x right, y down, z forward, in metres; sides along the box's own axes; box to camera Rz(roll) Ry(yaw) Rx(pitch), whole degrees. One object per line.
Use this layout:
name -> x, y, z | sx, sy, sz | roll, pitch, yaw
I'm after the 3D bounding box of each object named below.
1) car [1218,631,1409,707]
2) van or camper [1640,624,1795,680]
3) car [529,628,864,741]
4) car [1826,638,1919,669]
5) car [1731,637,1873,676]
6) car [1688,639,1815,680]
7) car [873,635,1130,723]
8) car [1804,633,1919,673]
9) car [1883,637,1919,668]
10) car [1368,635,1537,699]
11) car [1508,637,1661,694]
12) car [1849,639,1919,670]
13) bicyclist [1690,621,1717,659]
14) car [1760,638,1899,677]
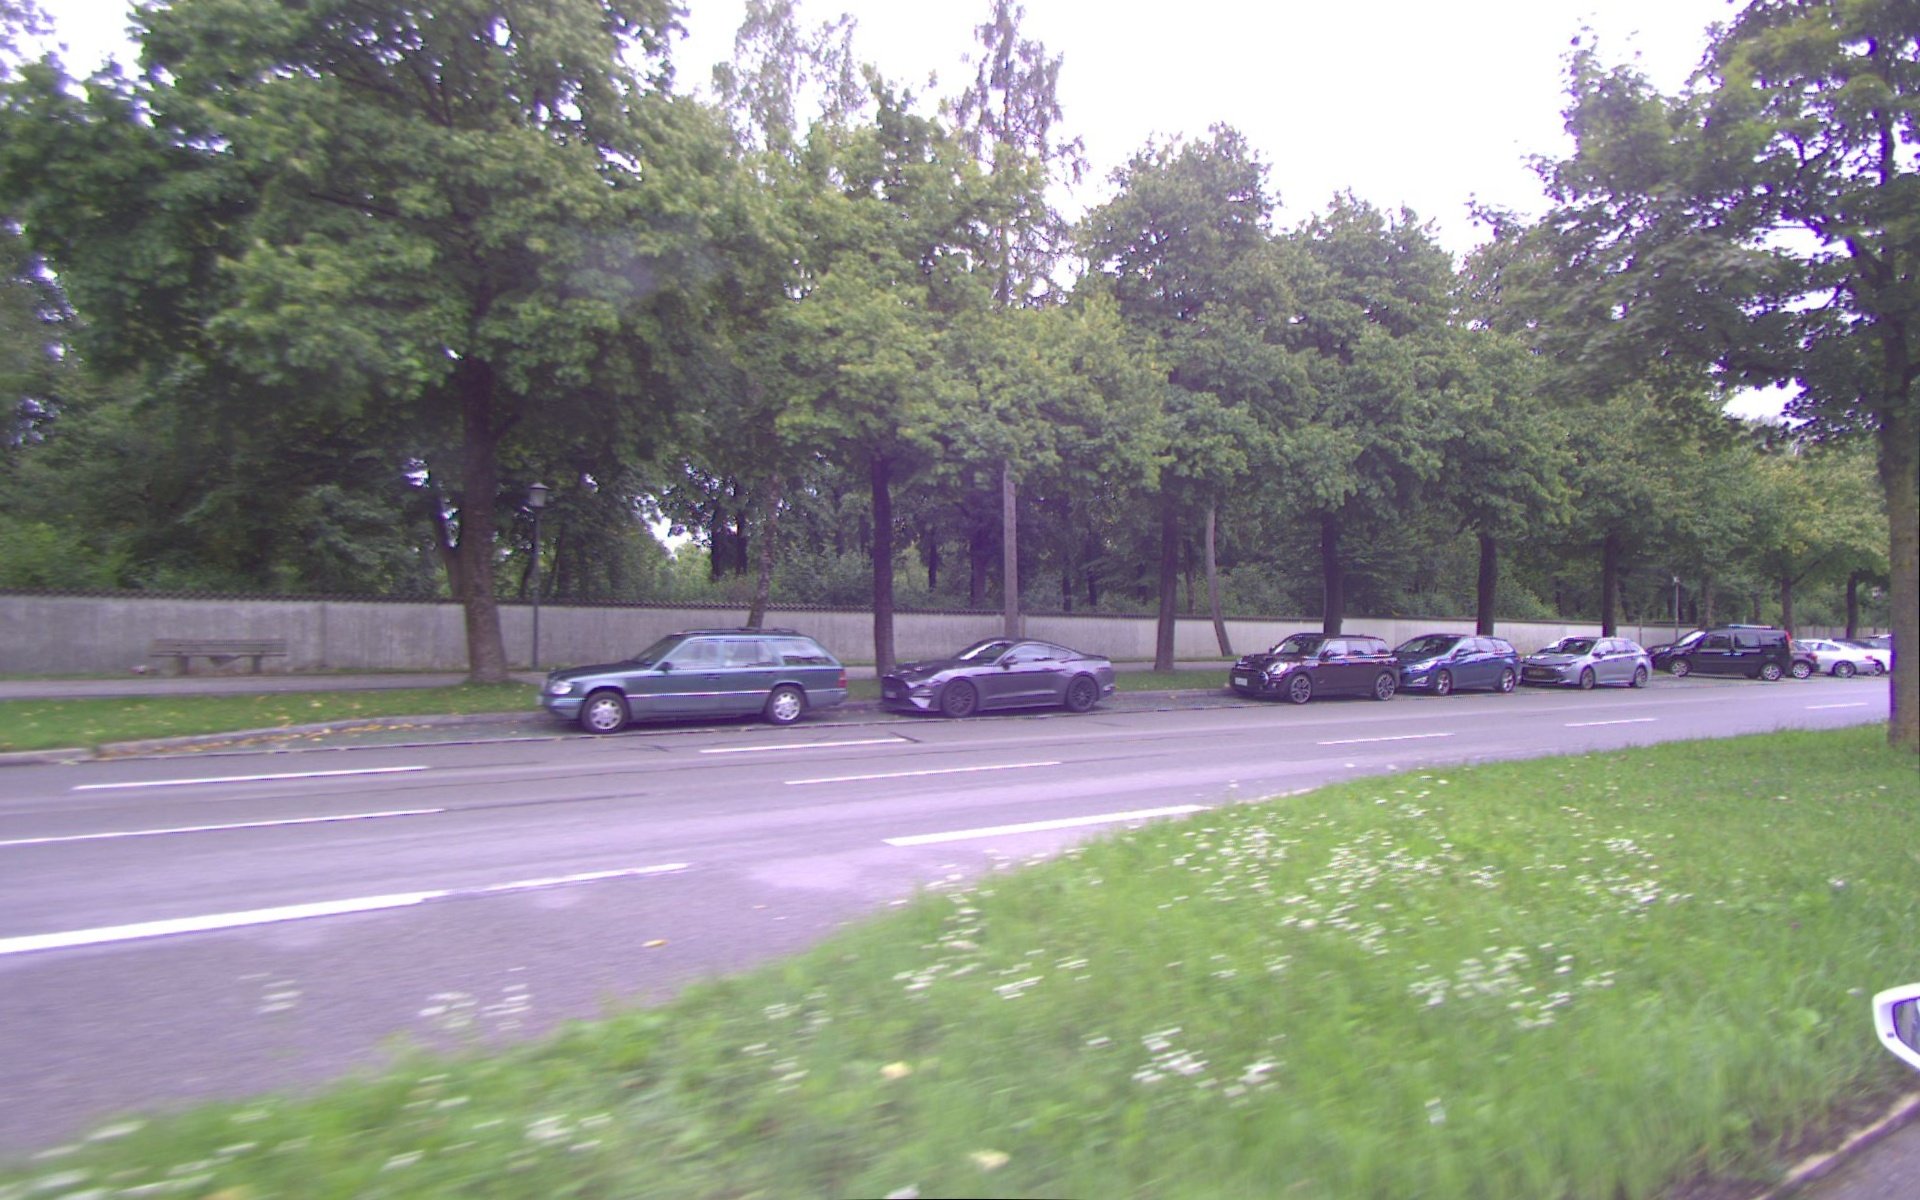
car -> 8.051, 1.519, 22.824 | 4.246, 1.523, 1.565 | 1, 0, -26
van or camper -> 26.981, 1.815, 35.930 | 4.044, 1.879, 1.850 | 0, -1, 20
car -> -4.117, 1.239, 15.980 | 4.857, 1.510, 1.790 | 1, 0, -30
car -> 42.527, 2.447, 45.895 | 4.125, 1.340, 1.917 | 0, -1, 27
car -> 32.766, 2.174, 39.235 | 3.925, 1.372, 1.849 | 0, -1, 26
car -> 29.537, 2.183, 37.615 | 3.517, 1.372, 1.750 | 0, -1, 31
car -> 0.835, 1.399, 18.789 | 4.651, 1.414, 1.651 | 1, 0, -30
car -> 39.840, 2.296, 43.982 | 4.028, 1.618, 1.919 | 0, -1, 22
car -> 47.907, 2.562, 48.882 | 4.032, 1.489, 1.917 | 0, -1, 27
car -> 12.683, 1.660, 25.782 | 4.744, 1.478, 1.578 | 1, 0, -31
car -> 18.013, 1.839, 28.925 | 4.750, 1.458, 1.629 | 1, 0, -29
car -> 45.026, 2.581, 47.465 | 4.121, 1.428, 1.917 | 0, -1, 27
bicyclist -> 34.313, 1.842, 46.376 | 0.912, 1.770, 0.702 | 1, -1, -30
car -> 35.330, 2.314, 40.925 | 3.967, 1.400, 1.673 | 0, -1, 25
